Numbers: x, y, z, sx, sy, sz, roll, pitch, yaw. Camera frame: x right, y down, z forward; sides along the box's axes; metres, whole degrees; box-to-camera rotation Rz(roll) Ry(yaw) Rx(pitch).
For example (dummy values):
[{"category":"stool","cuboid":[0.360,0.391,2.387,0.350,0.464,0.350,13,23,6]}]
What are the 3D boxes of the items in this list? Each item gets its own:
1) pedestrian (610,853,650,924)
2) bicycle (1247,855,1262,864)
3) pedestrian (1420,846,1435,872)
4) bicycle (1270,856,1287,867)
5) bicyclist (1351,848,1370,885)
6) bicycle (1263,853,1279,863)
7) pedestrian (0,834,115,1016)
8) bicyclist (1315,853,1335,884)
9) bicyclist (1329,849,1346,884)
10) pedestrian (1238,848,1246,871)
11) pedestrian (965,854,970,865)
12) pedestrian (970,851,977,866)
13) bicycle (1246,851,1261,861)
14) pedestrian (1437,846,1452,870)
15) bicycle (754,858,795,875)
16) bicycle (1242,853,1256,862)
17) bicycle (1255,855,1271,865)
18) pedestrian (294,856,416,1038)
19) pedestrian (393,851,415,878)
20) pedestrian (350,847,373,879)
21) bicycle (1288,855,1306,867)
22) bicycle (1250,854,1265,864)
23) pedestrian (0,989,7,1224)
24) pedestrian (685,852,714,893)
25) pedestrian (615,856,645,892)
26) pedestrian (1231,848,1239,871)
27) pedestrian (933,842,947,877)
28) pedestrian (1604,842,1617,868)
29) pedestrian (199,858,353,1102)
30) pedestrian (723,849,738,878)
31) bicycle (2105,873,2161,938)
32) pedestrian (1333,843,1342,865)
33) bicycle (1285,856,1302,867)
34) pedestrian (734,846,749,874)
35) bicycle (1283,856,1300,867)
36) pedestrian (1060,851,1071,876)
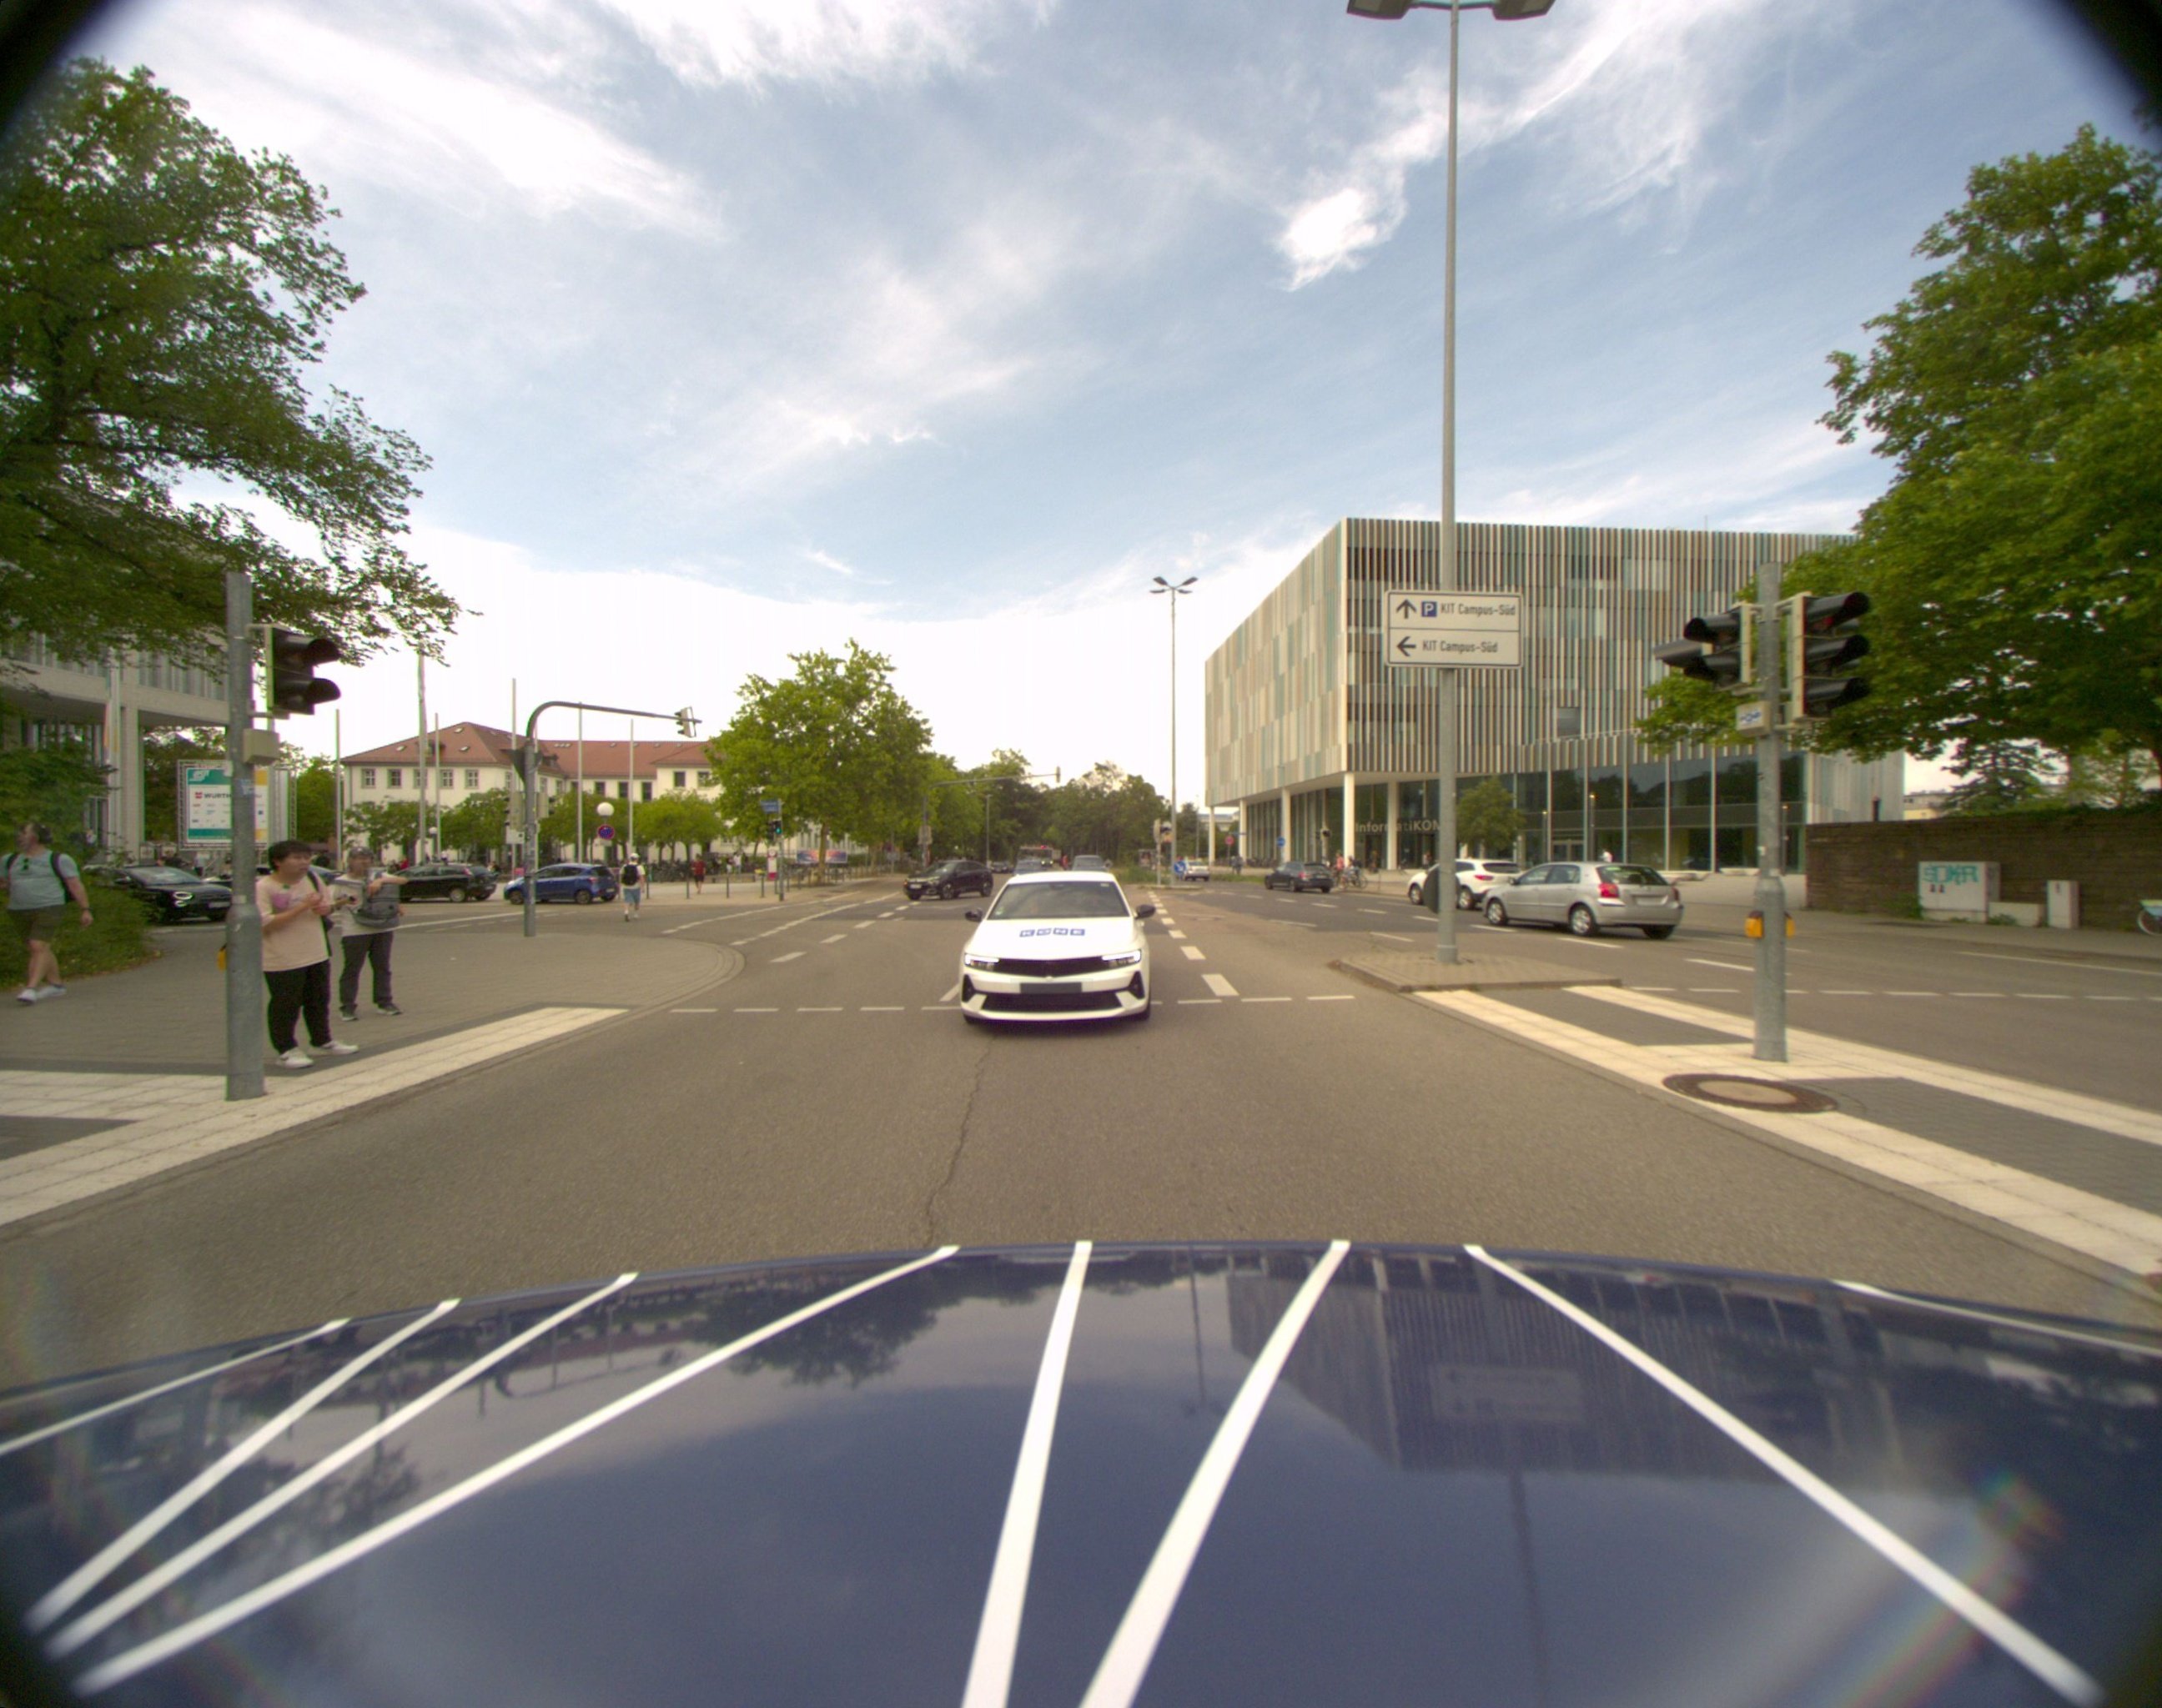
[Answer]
[{"category":"pedestrian","cuboid":[-12.009,0.896,20.257,0.647,1.842,0.828,-2,1,-15]},{"category":"bicycle","cuboid":[19.389,0.602,84.793,1.582,1.017,0.389,-2,1,-9]},{"category":"pedestrian","cuboid":[23.453,0.312,51.465,0.732,1.730,0.676,-1,1,-38]},{"category":"bicycle","cuboid":[20.110,0.780,77.401,1.582,1.017,0.389,-2,1,-9]},{"category":"bicyclist","cuboid":[14.028,0.614,38.136,0.602,1.796,0.561,-2,1,-18]},{"category":"bicycle","cuboid":[19.931,0.446,79.621,1.582,1.017,0.389,-2,1,-9]},{"category":"pedestrian","cuboid":[-10.720,0.695,7.790,0.646,1.785,0.740,0,1,-3]},{"category":"bicyclist","cuboid":[13.316,0.777,41.537,0.729,1.663,0.722,-2,1,-18]},{"category":"bicyclist","cuboid":[13.410,0.627,39.773,0.602,1.796,0.561,-2,1,-18]},{"category":"pedestrian","cuboid":[13.262,0.448,62.603,0.512,1.826,0.624,0,0,-4]},{"category":"pedestrian","cuboid":[-15.350,0.727,102.759,0.646,1.556,0.804,0,1,-5]},{"category":"pedestrian","cuboid":[-14.572,0.615,102.970,0.798,1.922,0.759,0,1,-4]},{"category":"bicycle","cuboid":[19.361,0.238,85.389,1.582,1.017,0.389,2,1,-9]},{"category":"pedestrian","cuboid":[24.251,0.286,50.689,0.731,1.591,0.677,-1,1,-35]},{"category":"bicycle","cuboid":[-21.054,0.860,52.191,2.472,1.136,0.717,0,1,-3]},{"category":"bicycle","cuboid":[19.079,0.406,86.324,1.582,1.017,0.389,-2,1,-9]},{"category":"bicycle","cuboid":[19.618,0.629,82.041,1.582,1.017,0.389,-2,1,-9]},{"category":"pedestrian","cuboid":[-7.005,0.865,7.362,0.547,1.677,0.636,0,1,-3]},{"category":"pedestrian","cuboid":[-40.162,0.627,45.096,0.728,1.587,0.601,-2,1,-16]},{"category":"pedestrian","cuboid":[-42.007,0.523,44.385,0.728,1.833,0.601,-2,1,-18]},{"category":"bicycle","cuboid":[20.198,0.649,71.030,1.546,0.989,0.399,-2,1,-8]},{"category":"bicycle","cuboid":[19.462,0.514,83.937,1.582,1.017,0.389,-2,1,-9]},{"category":"pedestrian","cuboid":[-5.449,0.906,3.292,0.603,1.725,0.654,0,1,-3]},{"category":"pedestrian","cuboid":[-17.113,0.841,34.129,0.769,1.794,0.891,-2,1,1]},{"category":"pedestrian","cuboid":[-21.586,0.947,36.394,0.953,1.698,0.702,-1,1,15]},{"category":"pedestrian","cuboid":[12.646,0.438,62.411,0.512,1.826,0.772,0,0,-4]},{"category":"pedestrian","cuboid":[-7.248,0.278,39.140,0.574,1.806,0.681,0,1,-1]},{"category":"pedestrian","cuboid":[35.865,0.058,51.486,0.635,1.768,0.598,0,1,41]},{"category":"pedestrian","cuboid":[-6.020,0.900,5.717,0.455,1.725,0.636,0,1,-3]},{"category":"pedestrian","cuboid":[-23.904,0.672,51.855,0.687,1.952,0.601,-3,1,-43]},{"category":"bicycle","cuboid":[19.651,0.933,13.231,0.579,1.119,2.164,-3,0,-5]},{"category":"pedestrian","cuboid":[23.918,0.002,70.882,0.512,2.031,0.624,0,0,-5]},{"category":"bicycle","cuboid":[20.095,0.722,71.867,1.546,0.932,0.394,-2,1,-9]},{"category":"pedestrian","cuboid":[-23.414,0.419,52.376,0.687,1.952,0.601,-3,1,-43]},{"category":"bicycle","cuboid":[20.120,0.711,72.548,1.546,0.932,0.389,-2,1,-9]},{"category":"pedestrian","cuboid":[-1.160,0.692,56.470,0.727,1.843,1.064,-1,1,-6]}]
